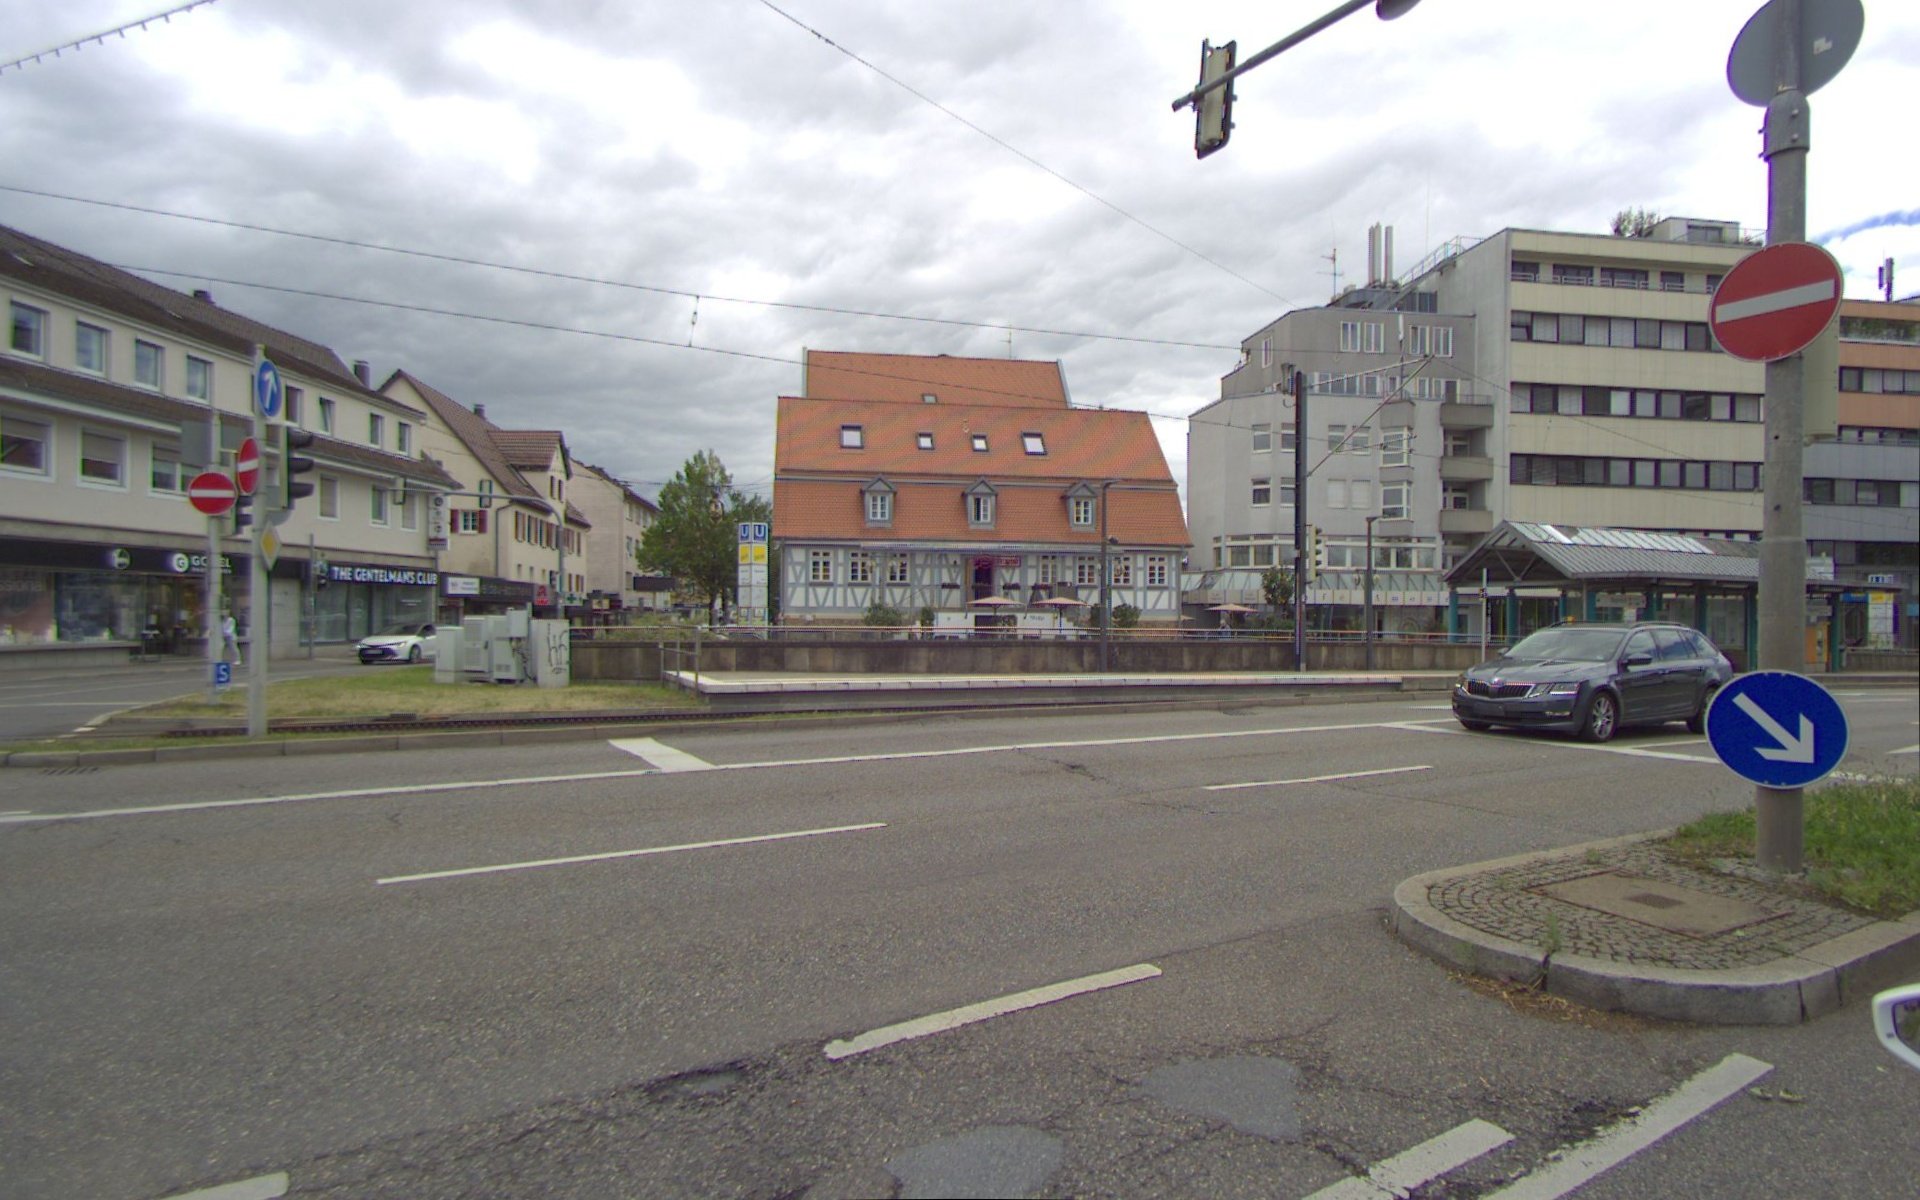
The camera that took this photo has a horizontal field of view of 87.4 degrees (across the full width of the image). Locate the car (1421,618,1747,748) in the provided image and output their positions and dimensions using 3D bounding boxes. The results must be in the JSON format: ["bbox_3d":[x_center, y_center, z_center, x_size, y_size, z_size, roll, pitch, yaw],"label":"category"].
[{"bbox_3d":[8.408,1.018,13.439,4.558,1.474,1.790,1,-1,-30],"label":"car"}]

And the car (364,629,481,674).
[{"bbox_3d":[-17.263,1.629,32.481,1.949,1.312,3.908,1,-1,-5],"label":"car"}]

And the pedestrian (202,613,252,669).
[{"bbox_3d":[-22.249,1.235,30.502,0.858,1.692,0.859,1,-1,5],"label":"pedestrian"}]

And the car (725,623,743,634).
[{"bbox_3d":[-29.497,3.759,131.347,1.950,1.312,3.905,1,-1,-8],"label":"car"}]

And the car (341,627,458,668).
[{"bbox_3d":[-19.443,1.605,35.040,1.948,1.312,3.910,1,-1,-1],"label":"car"}]
